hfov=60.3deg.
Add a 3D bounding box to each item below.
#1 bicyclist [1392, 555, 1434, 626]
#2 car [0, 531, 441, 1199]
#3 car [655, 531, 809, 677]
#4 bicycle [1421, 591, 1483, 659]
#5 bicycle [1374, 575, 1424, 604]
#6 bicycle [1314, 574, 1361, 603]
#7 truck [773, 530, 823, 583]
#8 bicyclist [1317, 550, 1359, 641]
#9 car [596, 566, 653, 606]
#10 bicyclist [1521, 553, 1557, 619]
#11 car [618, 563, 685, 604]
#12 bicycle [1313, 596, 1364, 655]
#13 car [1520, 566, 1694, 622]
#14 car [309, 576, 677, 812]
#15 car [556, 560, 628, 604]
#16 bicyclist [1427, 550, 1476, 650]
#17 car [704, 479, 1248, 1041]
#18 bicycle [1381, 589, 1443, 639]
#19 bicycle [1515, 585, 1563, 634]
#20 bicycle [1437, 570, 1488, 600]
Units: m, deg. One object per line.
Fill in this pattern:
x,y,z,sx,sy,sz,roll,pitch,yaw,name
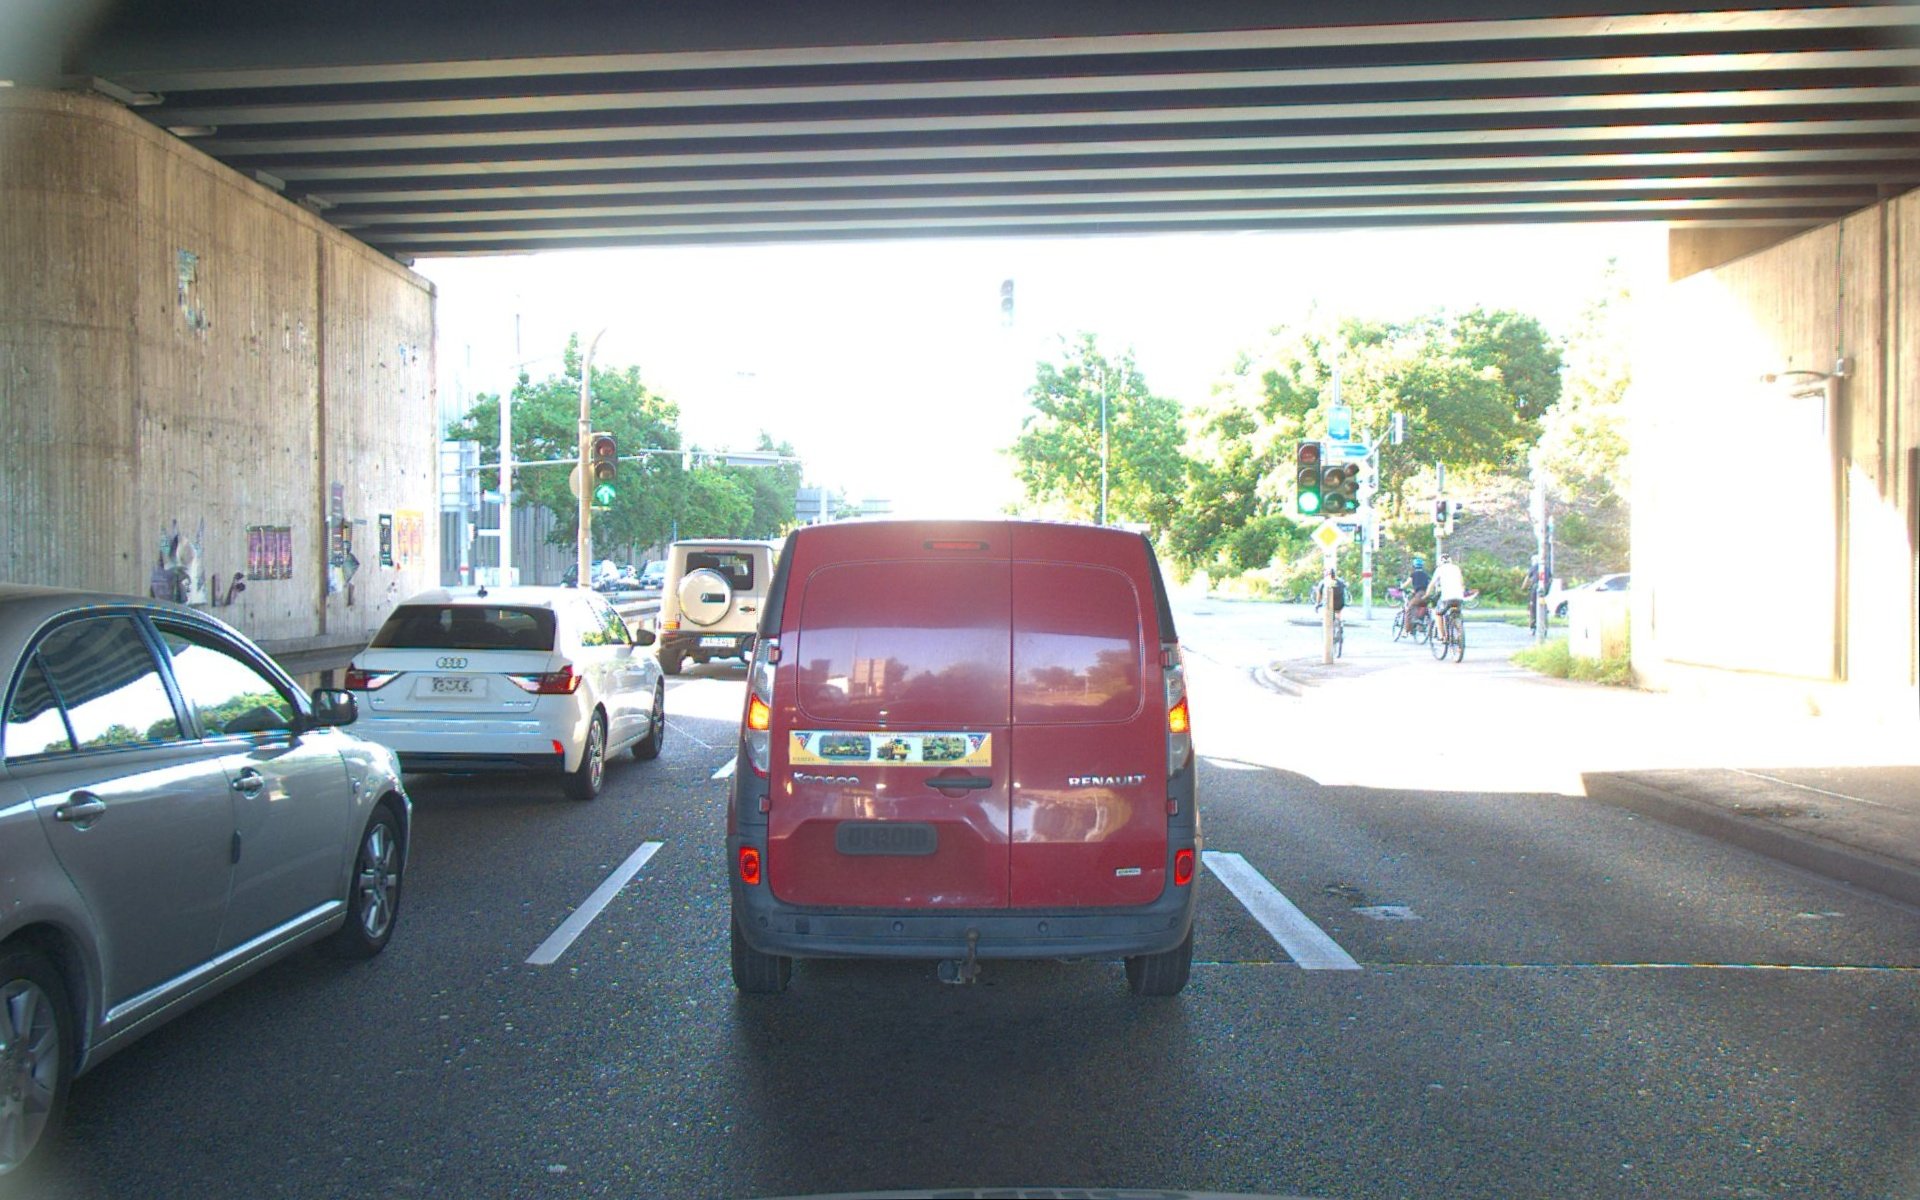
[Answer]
9.756,-0.207,35.628,0.651,1.500,0.750,1,-1,-3,bicyclist
-3.012,0.593,4.949,1.698,1.506,4.317,0,0,-2,car
-3.416,0.066,25.536,1.764,2.023,4.588,1,0,-1,car
7.882,0.392,26.555,0.579,1.041,1.751,1,0,4,bicycle
16.241,-0.404,61.254,1.707,1.041,0.594,1,0,8,bicycle
14.277,-0.432,62.574,1.707,1.041,0.594,1,0,8,bicycle
-10.037,-2.652,102.923,2.360,3.079,6.657,-2,1,0,truck
6.971,-0.085,30.526,0.579,1.642,0.942,1,0,2,bicyclist
-15.946,-0.665,78.799,1.787,1.768,4.529,-2,1,-1,car
13.324,-0.326,38.065,0.635,1.506,0.619,1,1,7,bicyclist
-13.508,-0.733,72.620,1.786,1.653,4.532,-2,1,3,car
6.978,0.463,30.523,0.579,1.041,1.751,1,0,2,bicycle
19.037,-0.166,48.832,4.451,1.540,1.829,1,0,6,car
-3.279,0.576,12.361,1.777,1.463,3.730,1,1,-2,car
-15.839,-0.807,71.424,1.786,1.768,4.631,-2,1,3,car
7.866,0.002,26.506,0.579,1.575,0.769,1,-1,4,bicyclist
0.029,0.537,7.457,1.768,1.826,3.999,1,0,-1,car
9.768,0.289,35.802,0.658,1.041,2.054,1,0,-3,bicycle
13.326,0.209,38.105,0.653,1.041,1.752,0,3,7,bicycle
18.269,-0.541,60.105,1.707,1.041,0.594,1,0,10,bicycle
